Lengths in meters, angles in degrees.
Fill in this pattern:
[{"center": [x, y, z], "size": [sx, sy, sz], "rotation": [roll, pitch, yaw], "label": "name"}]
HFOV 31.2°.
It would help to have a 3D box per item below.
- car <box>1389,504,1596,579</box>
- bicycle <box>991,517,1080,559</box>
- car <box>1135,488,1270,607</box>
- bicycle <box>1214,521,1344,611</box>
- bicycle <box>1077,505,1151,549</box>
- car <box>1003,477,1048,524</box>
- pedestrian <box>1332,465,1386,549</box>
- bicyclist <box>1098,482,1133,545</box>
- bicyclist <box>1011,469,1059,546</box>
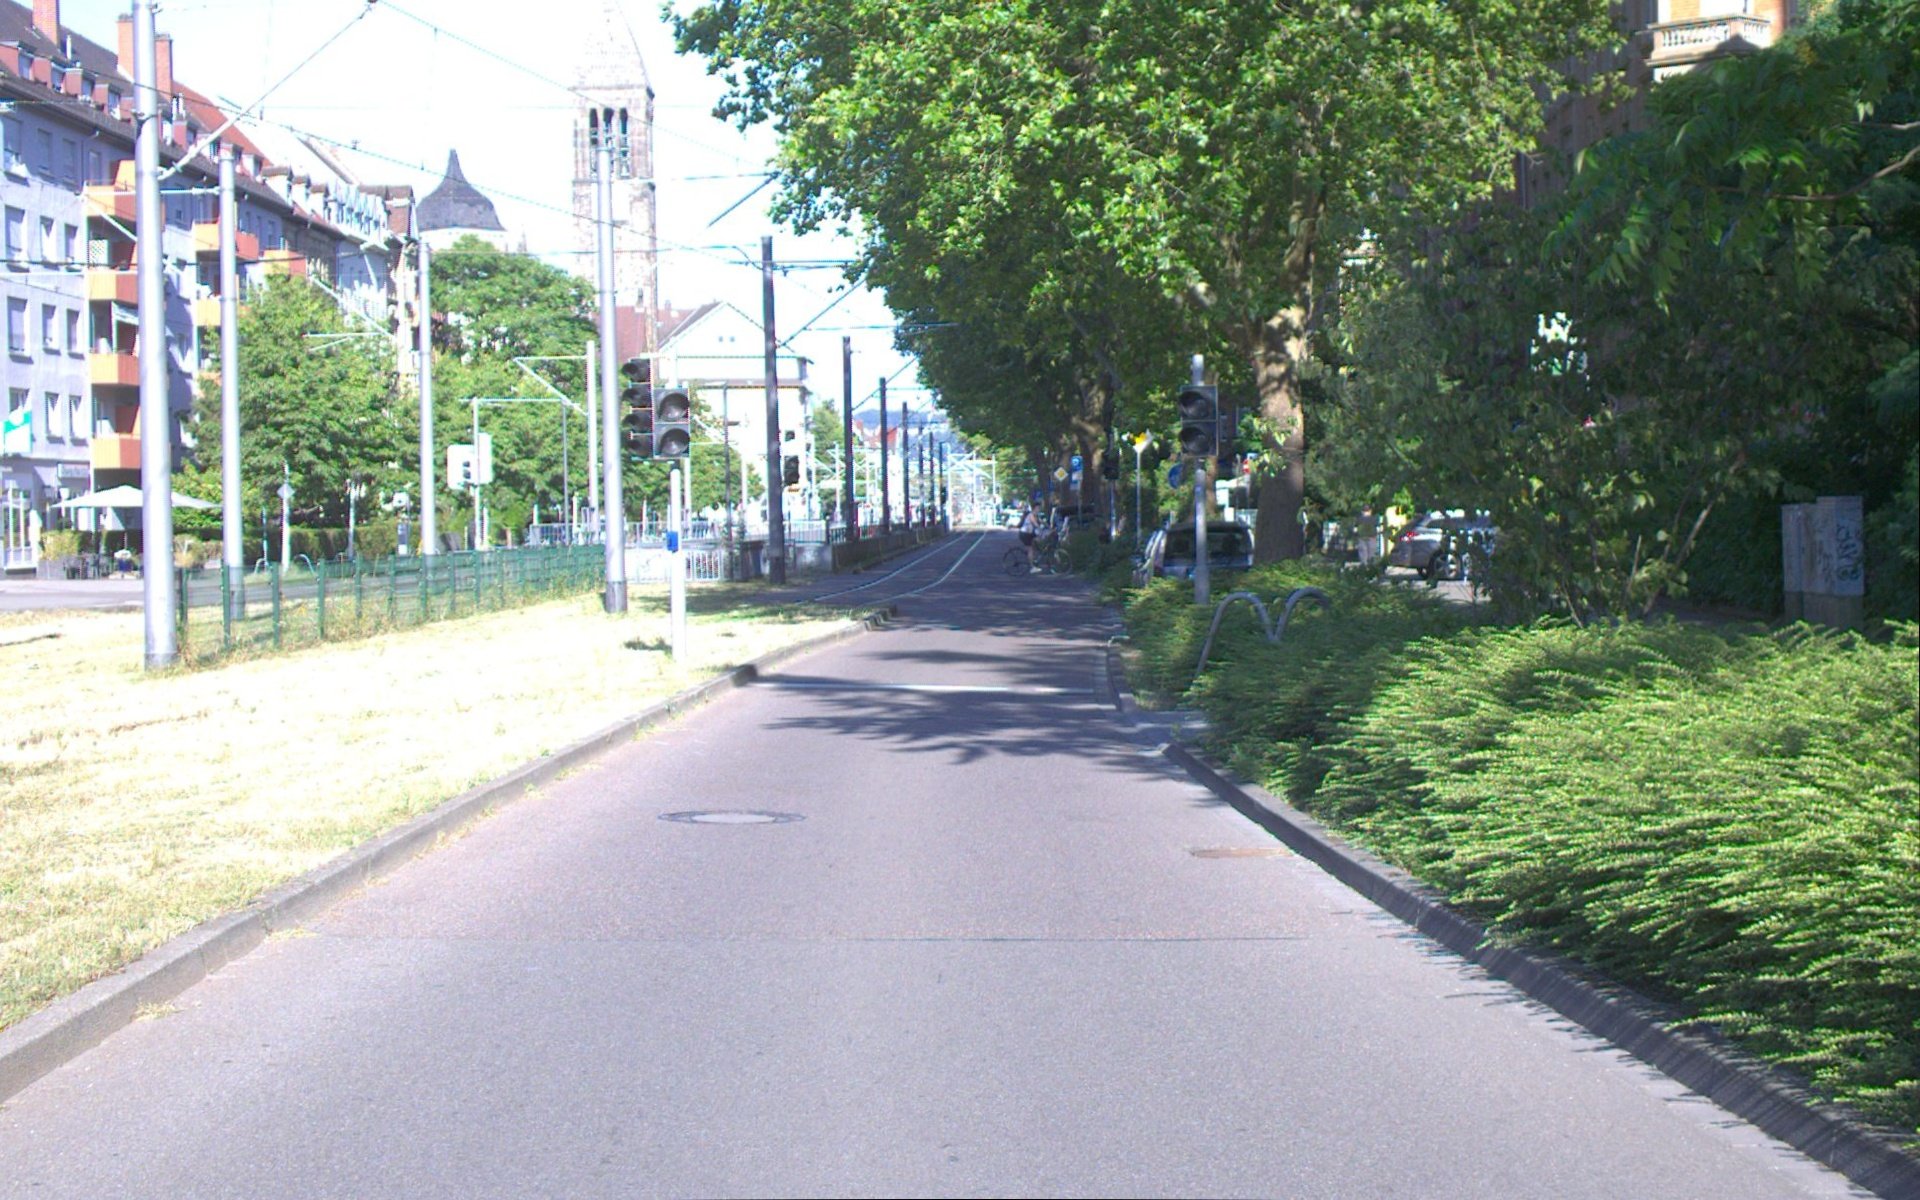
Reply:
[{"center": [11.054, -1.229, 71.585], "size": [3.987, 1.415, 2.000], "rotation": [-2, 2, 1], "label": "car"}, {"center": [1.920, -1.587, 87.882], "size": [2.241, 0.972, 0.682], "rotation": [-1, 4, 1], "label": "bicycle"}, {"center": [3.348, -0.769, 48.081], "size": [1.643, 1.506, 4.183], "rotation": [-2, 2, 2], "label": "car"}, {"center": [4.099, -0.443, 44.126], "size": [1.596, 1.022, 0.542], "rotation": [-5, 5, -28], "label": "bicycle"}, {"center": [3.972, -1.882, 88.608], "size": [1.814, 1.044, 0.573], "rotation": [-3, 4, -7], "label": "bicycle"}, {"center": [3.004, -4.561, 157.654], "size": [1.993, 2.100, 4.000], "rotation": [1, 1, 2], "label": "car"}, {"center": [8.381, -1.968, 72.240], "size": [0.813, 1.683, 1.081], "rotation": [-3, 4, -8], "label": "pedestrian"}, {"center": [4.012, -2.232, 88.593], "size": [0.749, 1.552, 0.573], "rotation": [-3, 4, -7], "label": "bicyclist"}, {"center": [1.911, -2.356, 87.811], "size": [1.141, 1.884, 0.682], "rotation": [-2, 4, 1], "label": "bicyclist"}]
